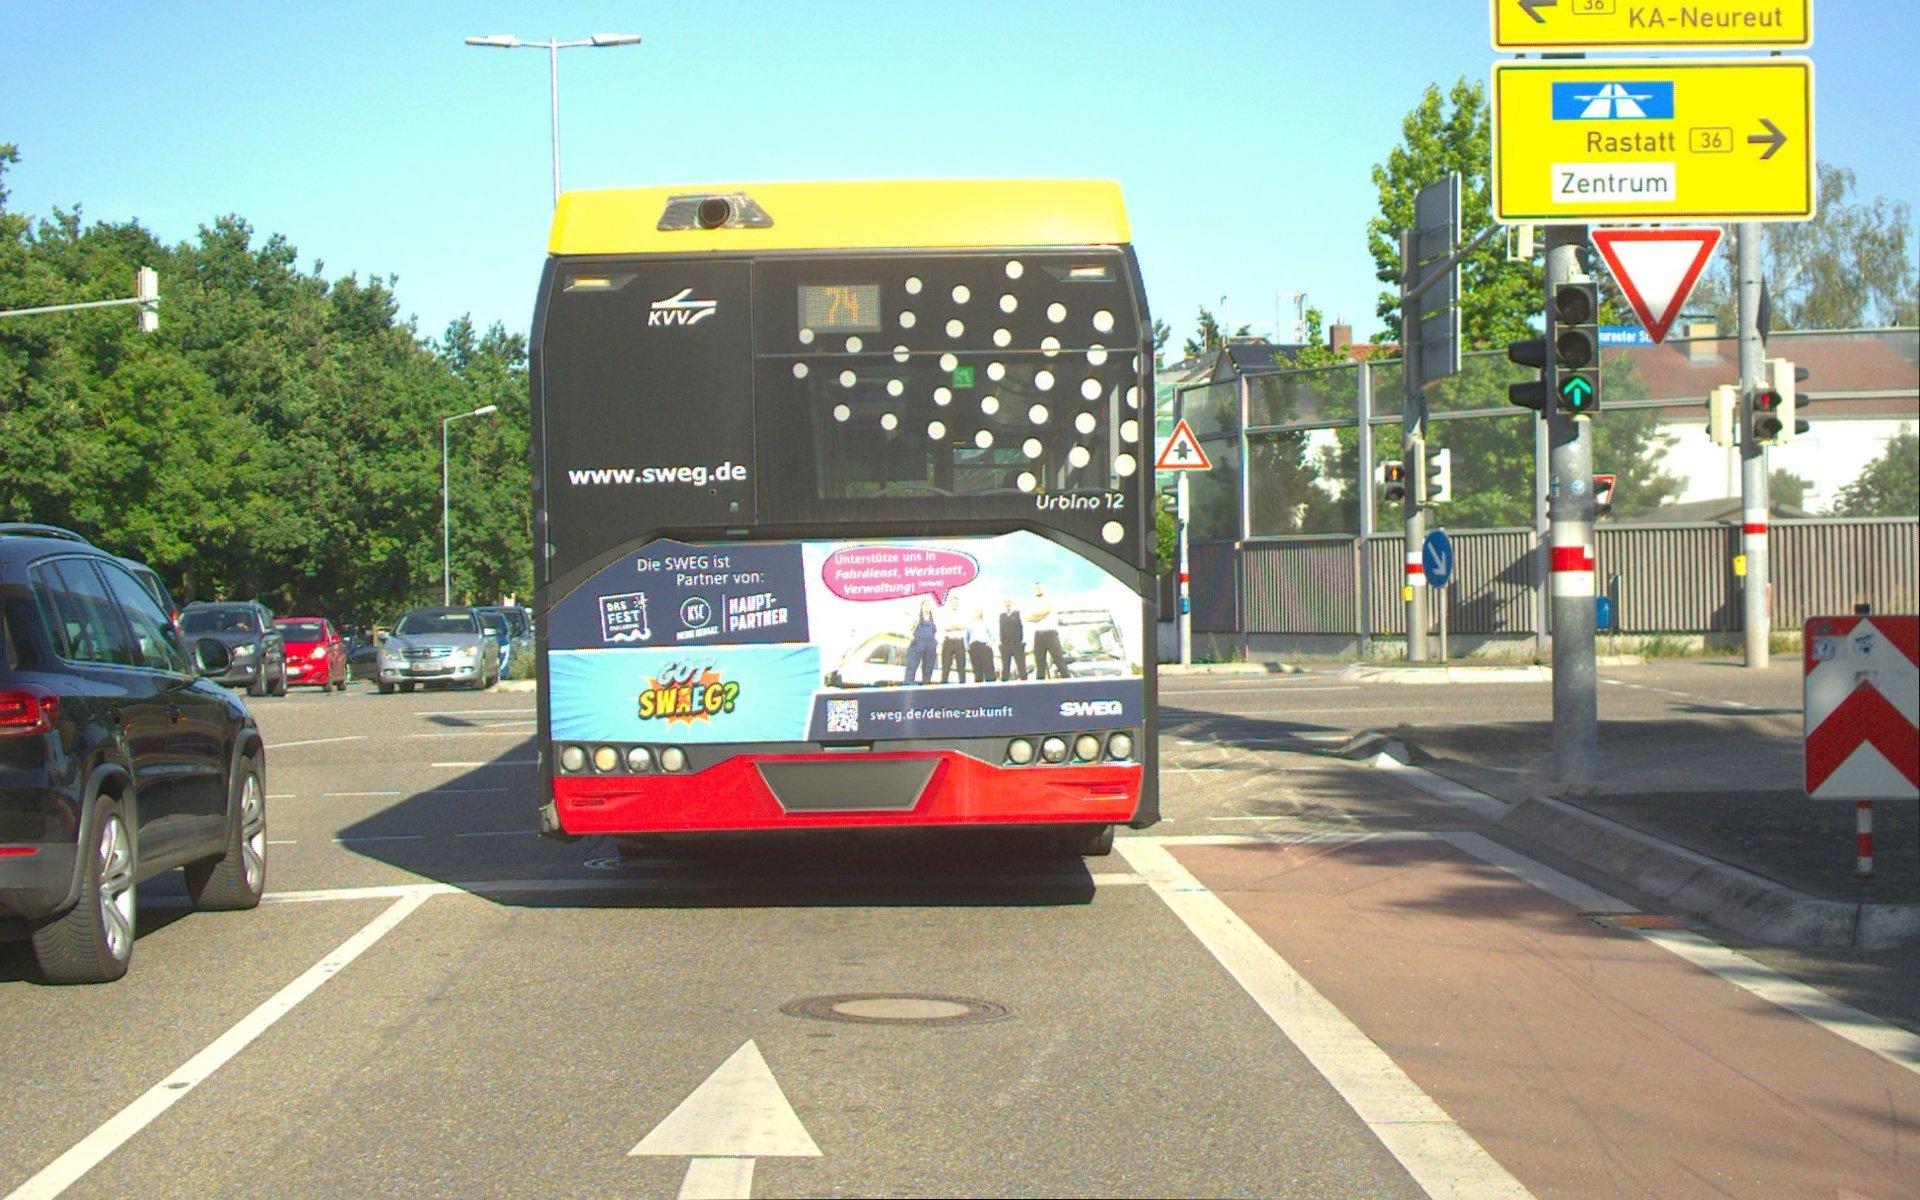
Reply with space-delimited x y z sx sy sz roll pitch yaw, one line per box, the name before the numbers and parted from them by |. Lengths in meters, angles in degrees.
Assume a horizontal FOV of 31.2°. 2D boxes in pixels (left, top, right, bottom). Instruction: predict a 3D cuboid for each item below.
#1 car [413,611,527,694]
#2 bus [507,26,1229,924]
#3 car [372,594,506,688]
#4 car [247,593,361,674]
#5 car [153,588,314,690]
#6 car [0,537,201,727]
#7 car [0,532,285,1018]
car | -9.221 0.979 64.906 1.746 1.478 3.888 -1 0 -3
bus | -0.619 -0.559 19.554 2.757 3.446 12.399 1 1 -2
car | -8.906 0.691 59.059 1.793 1.501 4.530 -1 0 -3
car | -12.609 0.636 66.244 1.645 1.478 3.713 -1 0 -3
car | -12.441 0.654 59.109 1.993 1.638 4.530 -1 0 -3
car | -8.800 0.239 32.675 2.041 1.610 4.419 -2 2 -27
car | -3.931 0.572 13.451 1.827 1.622 4.000 0 1 -1
